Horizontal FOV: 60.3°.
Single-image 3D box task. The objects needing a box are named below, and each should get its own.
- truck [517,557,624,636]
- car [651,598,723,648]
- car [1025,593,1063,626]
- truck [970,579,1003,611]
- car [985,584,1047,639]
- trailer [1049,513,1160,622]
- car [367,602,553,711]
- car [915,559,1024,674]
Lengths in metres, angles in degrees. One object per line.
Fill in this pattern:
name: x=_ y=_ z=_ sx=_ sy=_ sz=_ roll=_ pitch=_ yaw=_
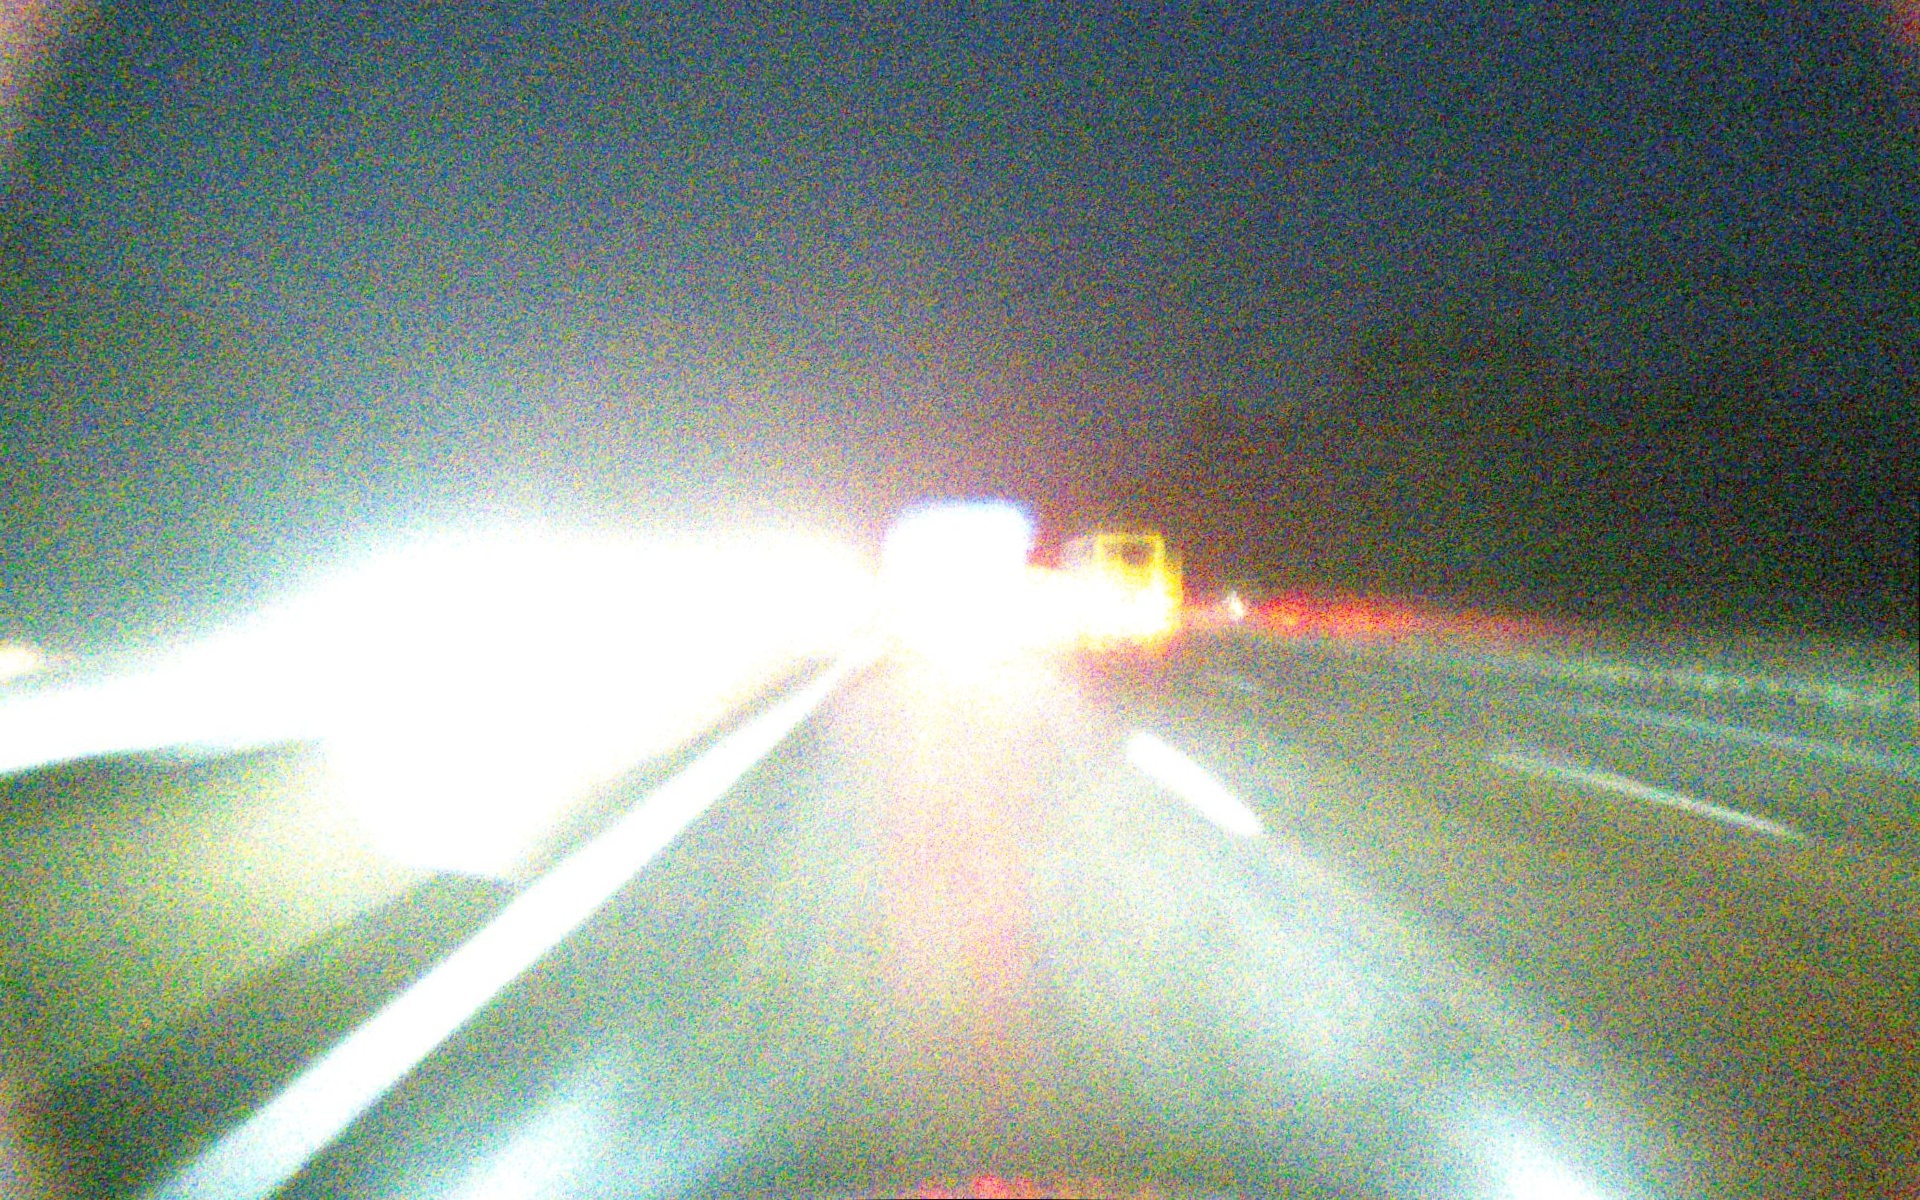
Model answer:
truck: x=-17.864 y=-0.186 z=76.483 sx=3.012 sy=3.353 sz=8.342 roll=-1 pitch=0 yaw=-1
car: x=-9.986 y=0.831 z=60.848 sx=1.877 sy=1.713 sz=4.505 roll=-2 pitch=-1 yaw=0
car: x=5.399 y=0.607 z=107.266 sx=1.954 sy=2.049 sz=3.996 roll=-2 pitch=0 yaw=-4
truck: x=2.894 y=-0.485 z=184.122 sx=2.976 sy=3.355 sz=11.375 roll=-2 pitch=0 yaw=-2
car: x=2.165 y=0.446 z=65.022 sx=1.954 sy=2.049 sz=3.996 roll=-2 pitch=0 yaw=-4
trailer: x=6.025 y=-1.232 z=71.678 sx=2.980 sy=4.180 sz=13.822 roll=-2 pitch=0 yaw=-2
car: x=-8.649 y=0.943 z=29.018 sx=1.877 sy=1.713 sz=4.505 roll=-2 pitch=-1 yaw=0
car: x=0.141 y=0.314 z=32.067 sx=1.953 sy=2.049 sz=3.999 roll=1 pitch=0 yaw=-1
